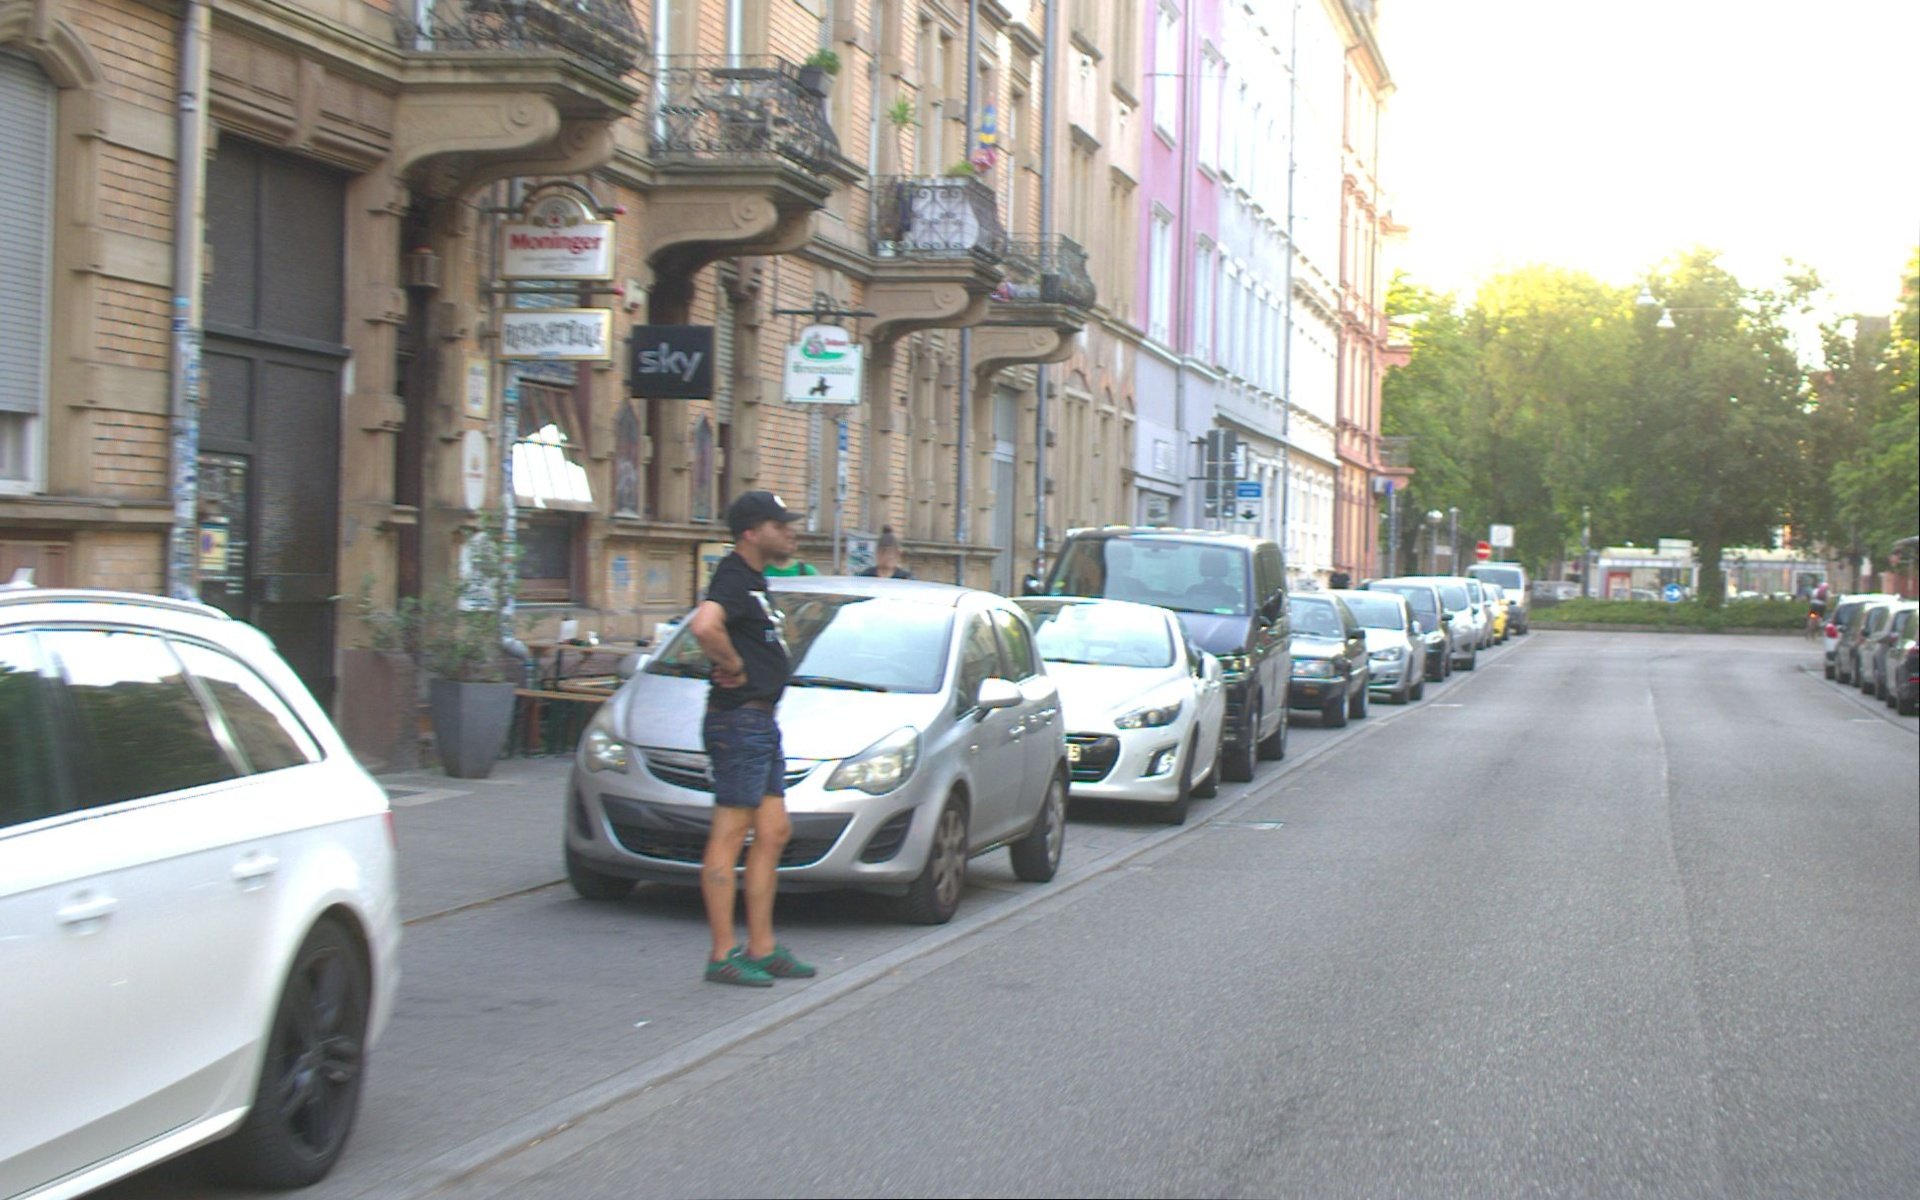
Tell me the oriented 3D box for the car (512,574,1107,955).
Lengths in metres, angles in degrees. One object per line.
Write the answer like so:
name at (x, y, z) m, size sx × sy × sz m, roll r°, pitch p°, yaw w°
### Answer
car at (-0.554, 0.655, 16.104) m, size 1.718 × 1.452 × 3.998 m, roll 3°, pitch 1°, yaw 13°

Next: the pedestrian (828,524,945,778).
pedestrian at (-0.527, 0.352, 24.857) m, size 0.605 × 1.766 × 0.777 m, roll 4°, pitch 2°, yaw 8°

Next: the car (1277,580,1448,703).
car at (5.506, 0.534, 46.663) m, size 1.835 × 1.453 × 4.204 m, roll 4°, pitch 1°, yaw 12°

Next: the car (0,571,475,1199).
car at (-2.581, 0.669, 6.776) m, size 1.759 × 1.407 × 4.506 m, roll 3°, pitch 1°, yaw 11°

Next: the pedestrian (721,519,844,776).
pedestrian at (-1.266, 0.322, 24.649) m, size 0.580 × 1.765 × 0.997 m, roll 4°, pitch 2°, yaw 8°

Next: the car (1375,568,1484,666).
car at (8.531, 0.294, 62.240) m, size 1.845 × 1.653 × 4.251 m, roll 1°, pitch 0°, yaw 9°

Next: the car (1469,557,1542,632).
car at (15.492, -0.164, 97.835) m, size 1.811 × 1.970 × 4.185 m, roll 3°, pitch 1°, yaw 7°

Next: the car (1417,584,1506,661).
car at (11.420, 0.500, 78.131) m, size 1.699 × 1.615 × 4.020 m, roll 3°, pitch 1°, yaw 11°

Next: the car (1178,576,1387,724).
car at (3.588, 0.527, 37.564) m, size 1.737 × 1.413 × 4.776 m, roll 3°, pitch 0°, yaw 11°

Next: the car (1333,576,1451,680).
car at (7.087, 0.430, 56.164) m, size 1.637 × 1.560 × 3.780 m, roll 3°, pitch 1°, yaw 11°

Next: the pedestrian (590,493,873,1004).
pedestrian at (-0.810, 0.520, 12.422) m, size 0.555 × 1.749 × 1.021 m, roll 2°, pitch -1°, yaw 23°

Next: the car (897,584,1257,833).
car at (0.904, 0.659, 23.479) m, size 1.784 × 1.418 × 4.483 m, roll 4°, pitch 1°, yaw 10°

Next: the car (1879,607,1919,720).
car at (13.509, 0.808, 46.779) m, size 1.677 × 1.424 × 4.475 m, roll -2°, pitch 0°, yaw 12°

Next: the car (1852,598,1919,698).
car at (14.805, 0.710, 53.060) m, size 1.677 × 1.451 × 4.228 m, roll -1°, pitch 0°, yaw 11°

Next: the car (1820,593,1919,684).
car at (15.662, 0.625, 58.282) m, size 1.676 × 1.451 × 3.799 m, roll -1°, pitch 0°, yaw 8°

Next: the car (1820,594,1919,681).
car at (16.728, 0.670, 63.218) m, size 1.677 × 1.496 × 3.898 m, roll -1°, pitch 0°, yaw 13°

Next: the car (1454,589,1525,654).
car at (13.847, 0.547, 89.857) m, size 1.699 × 1.547 × 4.020 m, roll 3°, pitch 1°, yaw 9°

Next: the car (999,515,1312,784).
car at (1.729, 0.358, 28.583) m, size 1.994 × 1.917 × 4.949 m, roll 4°, pitch 1°, yaw 9°

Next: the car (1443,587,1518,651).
car at (12.736, 0.453, 84.034) m, size 1.699 × 1.421 × 4.020 m, roll 3°, pitch 1°, yaw 9°
